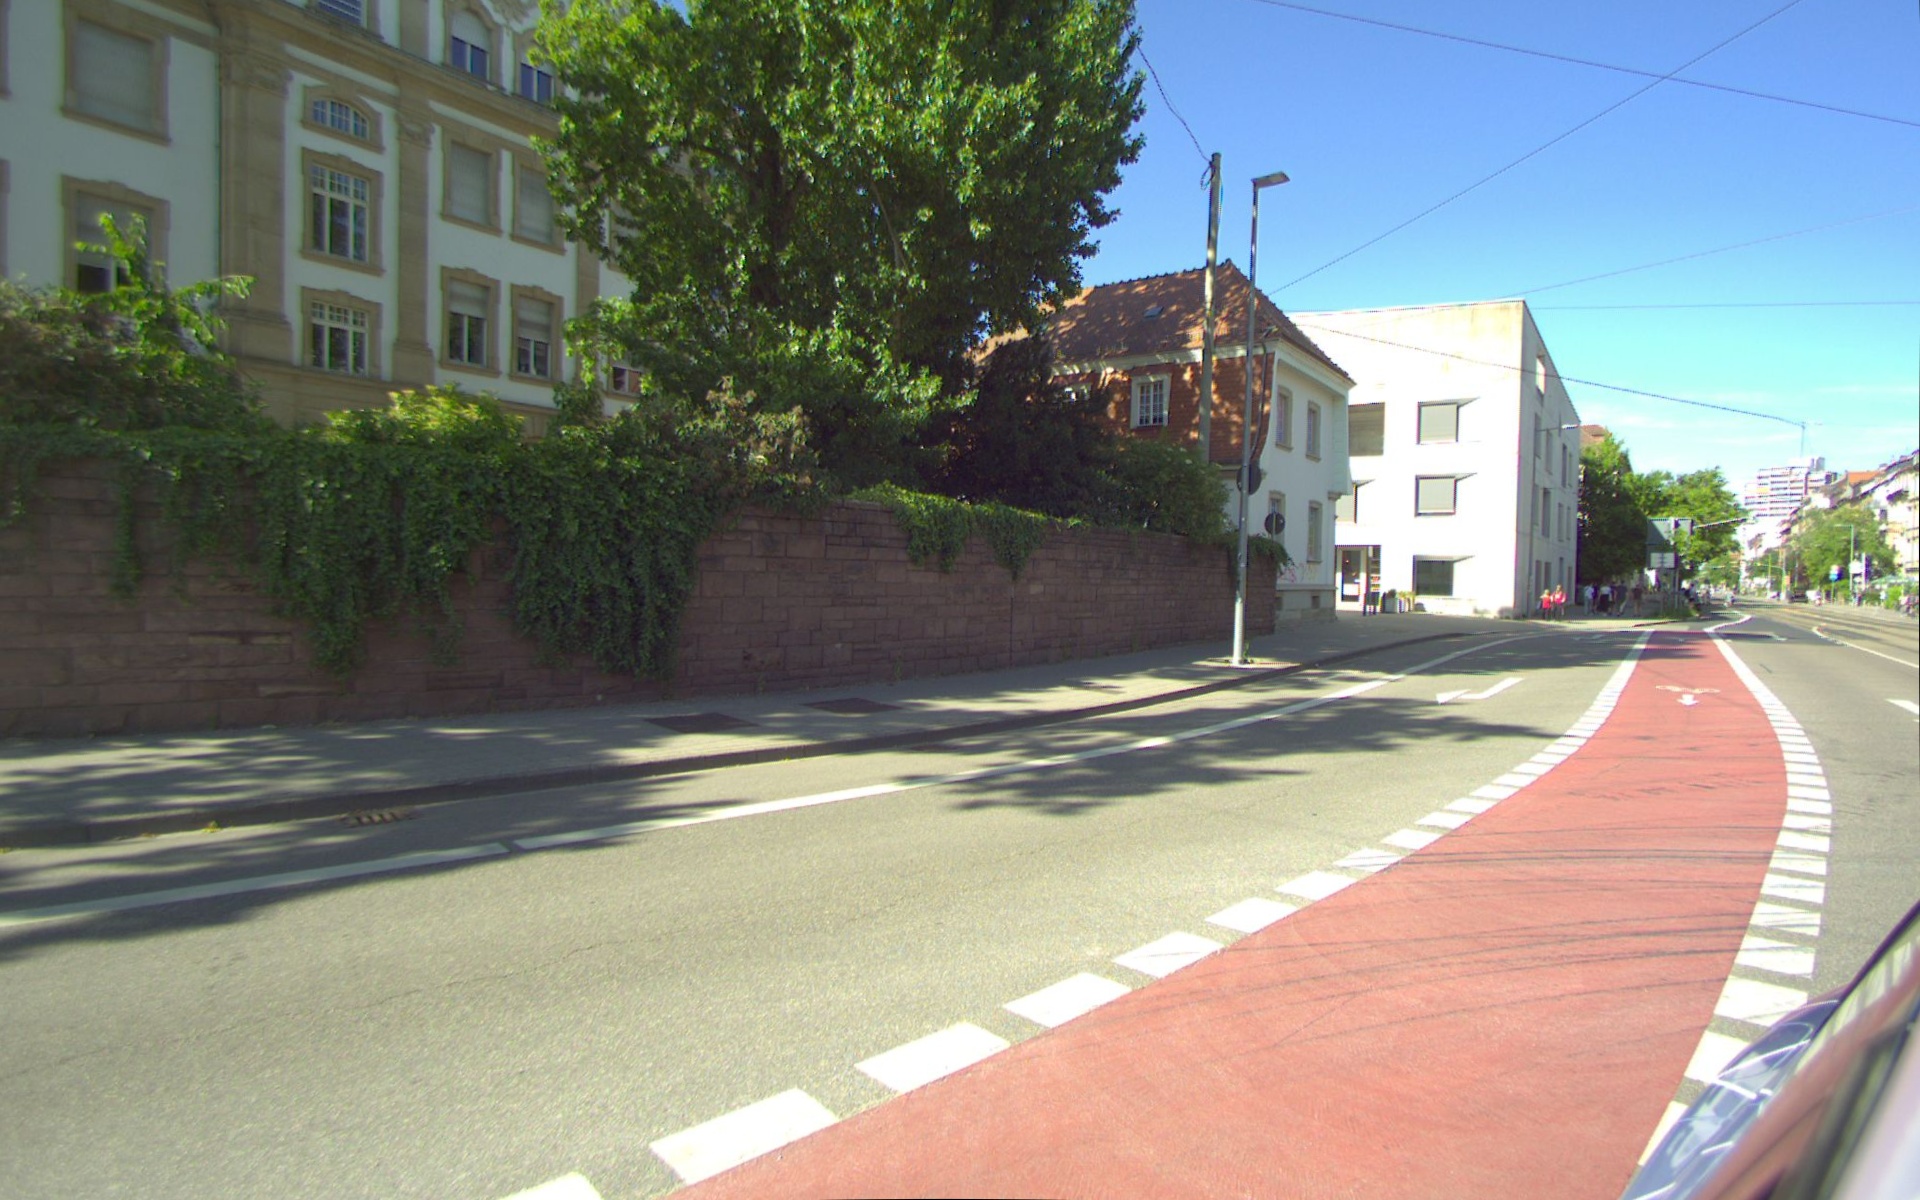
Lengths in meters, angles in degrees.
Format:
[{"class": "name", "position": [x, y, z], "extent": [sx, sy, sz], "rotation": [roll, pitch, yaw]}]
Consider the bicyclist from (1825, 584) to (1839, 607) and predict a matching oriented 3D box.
[{"class": "bicyclist", "position": [85.882, -0.466, 99.695], "extent": [0.999, 2.296, 1.006], "rotation": [0, 1, 39]}]

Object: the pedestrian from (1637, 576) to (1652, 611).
[{"class": "pedestrian", "position": [34.837, -0.356, 51.503], "extent": [0.584, 1.749, 0.513], "rotation": [2, 1, 36]}]

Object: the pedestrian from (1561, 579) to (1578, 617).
[{"class": "pedestrian", "position": [26.240, -0.096, 43.581], "extent": [0.531, 1.586, 0.513], "rotation": [2, 1, 36]}]

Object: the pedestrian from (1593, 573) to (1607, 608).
[{"class": "pedestrian", "position": [34.181, -0.508, 54.054], "extent": [0.584, 1.828, 0.575], "rotation": [2, 1, 36]}]

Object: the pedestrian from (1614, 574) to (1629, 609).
[{"class": "pedestrian", "position": [35.135, -0.457, 53.755], "extent": [0.584, 1.828, 0.575], "rotation": [2, 1, 36]}]

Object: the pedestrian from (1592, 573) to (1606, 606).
[{"class": "pedestrian", "position": [35.104, -0.588, 55.596], "extent": [0.584, 1.828, 0.538], "rotation": [2, 1, 36]}]

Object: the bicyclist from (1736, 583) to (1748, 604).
[{"class": "bicyclist", "position": [56.120, -0.477, 72.627], "extent": [0.663, 1.480, 0.613], "rotation": [0, 1, 41]}]

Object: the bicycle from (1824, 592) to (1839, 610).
[{"class": "bicycle", "position": [85.911, 0.060, 99.741], "extent": [0.999, 1.702, 2.943], "rotation": [0, 2, 39]}]

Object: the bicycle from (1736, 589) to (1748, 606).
[{"class": "bicycle", "position": [56.132, -0.175, 72.640], "extent": [0.663, 1.166, 1.648], "rotation": [0, 2, 40]}]

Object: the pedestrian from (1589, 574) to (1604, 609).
[{"class": "pedestrian", "position": [33.067, -0.451, 52.558], "extent": [0.584, 1.828, 0.538], "rotation": [2, 1, 36]}]

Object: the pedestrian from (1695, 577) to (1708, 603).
[{"class": "pedestrian", "position": [51.168, -0.709, 69.843], "extent": [0.675, 1.759, 0.919], "rotation": [2, 2, 38]}]

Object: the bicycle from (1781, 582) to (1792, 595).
[{"class": "bicycle", "position": [109.520, -1.492, 134.053], "extent": [0.998, 1.702, 2.946], "rotation": [0, 2, 37]}]

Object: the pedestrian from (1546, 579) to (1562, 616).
[{"class": "pedestrian", "position": [25.805, -0.106, 43.976], "extent": [0.531, 1.586, 0.513], "rotation": [2, 1, 36]}]

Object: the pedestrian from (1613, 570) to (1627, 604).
[{"class": "pedestrian", "position": [35.884, -0.715, 55.030], "extent": [0.584, 1.828, 0.538], "rotation": [2, 1, 36]}]

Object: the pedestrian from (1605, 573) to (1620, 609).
[{"class": "pedestrian", "position": [33.621, -0.446, 52.173], "extent": [0.584, 1.828, 0.538], "rotation": [2, 1, 36]}]

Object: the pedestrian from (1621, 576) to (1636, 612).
[{"class": "pedestrian", "position": [34.186, -0.315, 51.775], "extent": [0.584, 1.828, 0.513], "rotation": [2, 1, 36]}]

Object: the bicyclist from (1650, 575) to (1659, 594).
[{"class": "bicyclist", "position": [81.777, -1.856, 119.122], "extent": [0.809, 2.234, 0.971], "rotation": [0, 1, 39]}]

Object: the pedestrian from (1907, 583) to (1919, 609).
[{"class": "pedestrian", "position": [69.360, -0.303, 73.593], "extent": [0.576, 1.879, 0.675], "rotation": [2, 2, 37]}]

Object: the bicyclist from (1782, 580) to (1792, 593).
[{"class": "bicyclist", "position": [109.511, -1.795, 134.047], "extent": [0.998, 1.743, 0.972], "rotation": [0, 1, 37]}]
